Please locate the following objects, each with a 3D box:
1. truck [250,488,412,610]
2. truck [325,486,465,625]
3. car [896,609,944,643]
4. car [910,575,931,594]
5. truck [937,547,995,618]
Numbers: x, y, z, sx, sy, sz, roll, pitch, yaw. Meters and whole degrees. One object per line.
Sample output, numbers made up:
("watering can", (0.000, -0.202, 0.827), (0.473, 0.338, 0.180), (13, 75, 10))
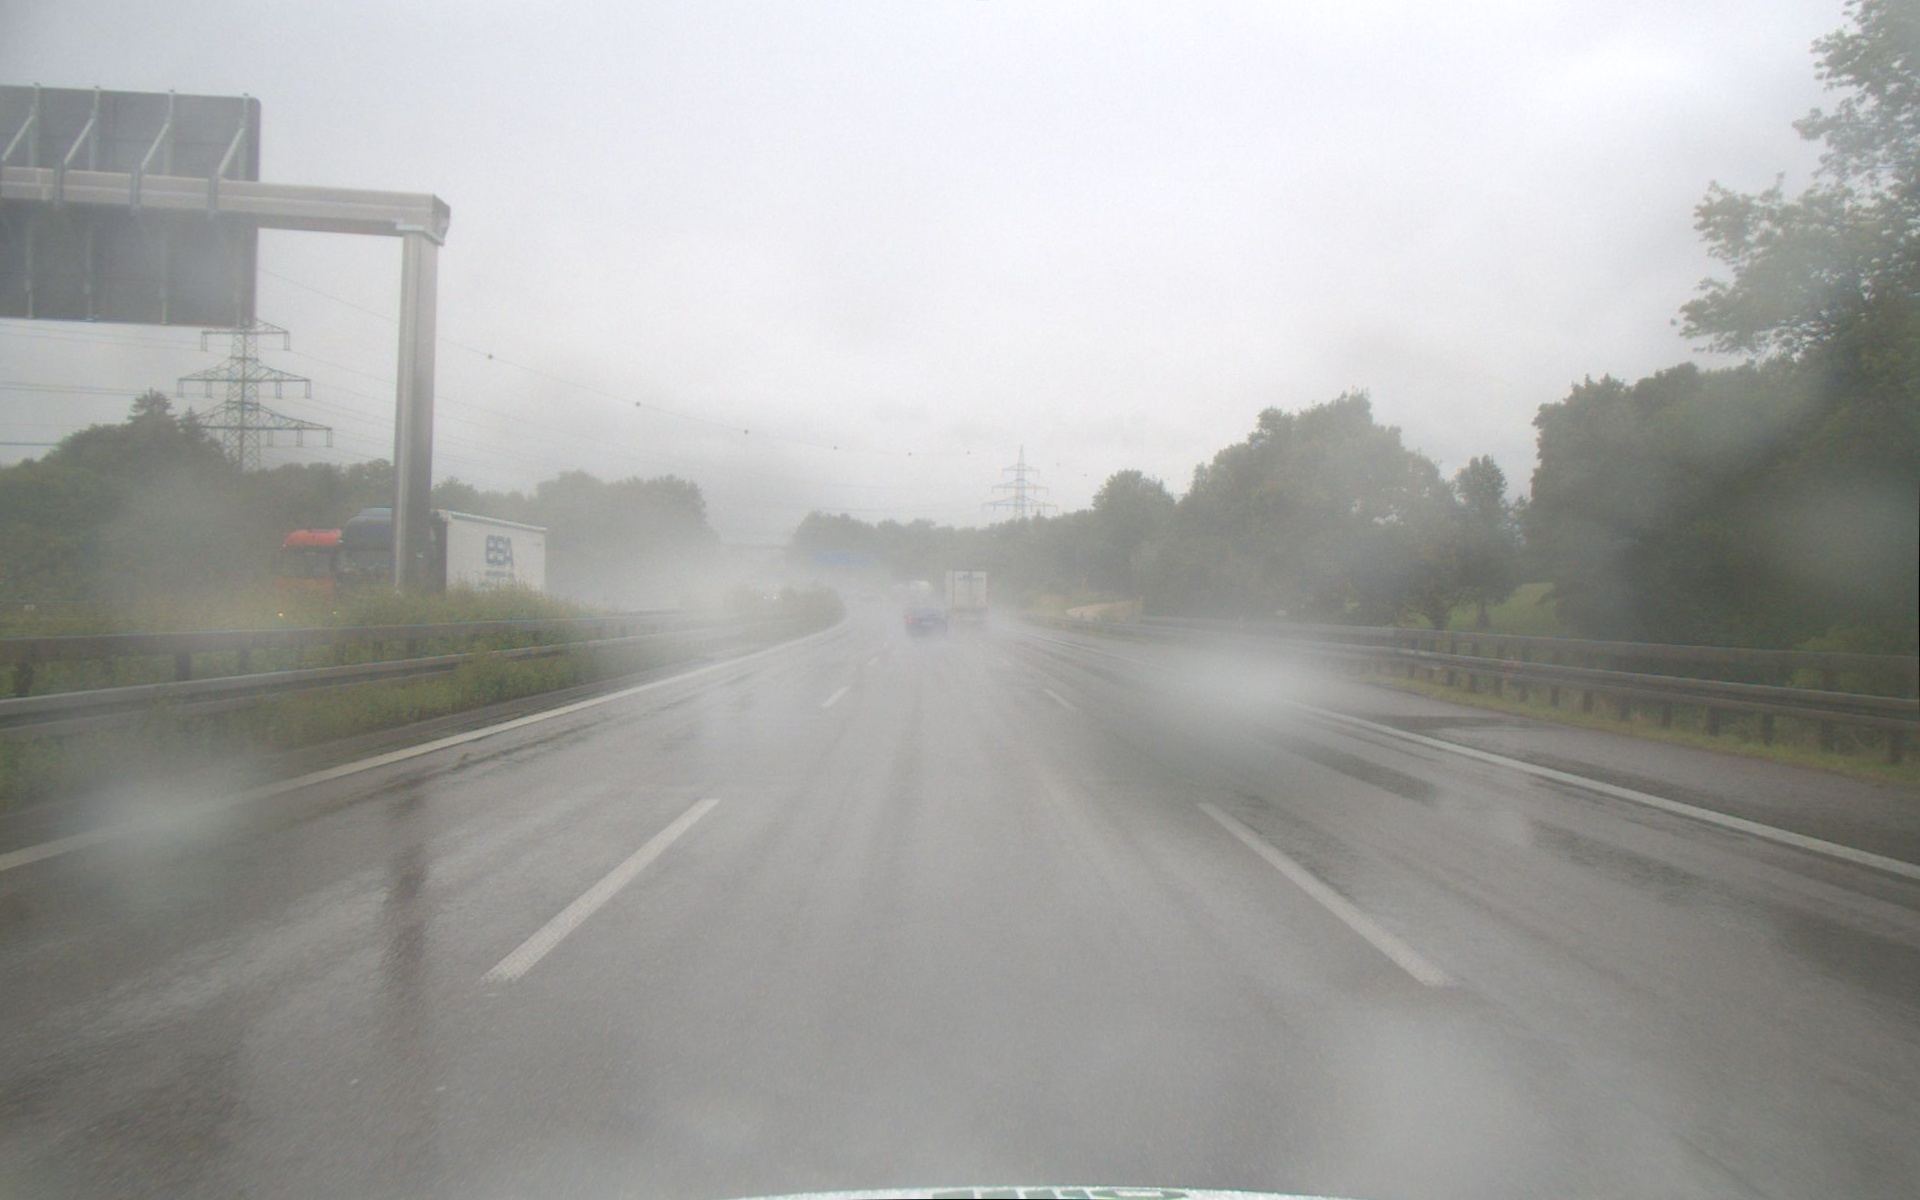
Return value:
("truck", (-21.635, -1.694, 57.315), (2.849, 3.784, 6.508), (4, 0, 0))
("truck", (-16.722, -1.263, 49.275), (2.309, 3.773, 4.737), (4, 0, 0))
("car", (-1.635, 1.057, 69.010), (1.713, 1.233, 4.001), (3, 0, 1))
("car", (-5.098, -2.016, 214.842), (2.346, 2.312, 4.998), (3, 1, -5))
("truck", (0.540, -1.346, 126.425), (4.169, 5.059, 17.342), (0, 1, 1))
